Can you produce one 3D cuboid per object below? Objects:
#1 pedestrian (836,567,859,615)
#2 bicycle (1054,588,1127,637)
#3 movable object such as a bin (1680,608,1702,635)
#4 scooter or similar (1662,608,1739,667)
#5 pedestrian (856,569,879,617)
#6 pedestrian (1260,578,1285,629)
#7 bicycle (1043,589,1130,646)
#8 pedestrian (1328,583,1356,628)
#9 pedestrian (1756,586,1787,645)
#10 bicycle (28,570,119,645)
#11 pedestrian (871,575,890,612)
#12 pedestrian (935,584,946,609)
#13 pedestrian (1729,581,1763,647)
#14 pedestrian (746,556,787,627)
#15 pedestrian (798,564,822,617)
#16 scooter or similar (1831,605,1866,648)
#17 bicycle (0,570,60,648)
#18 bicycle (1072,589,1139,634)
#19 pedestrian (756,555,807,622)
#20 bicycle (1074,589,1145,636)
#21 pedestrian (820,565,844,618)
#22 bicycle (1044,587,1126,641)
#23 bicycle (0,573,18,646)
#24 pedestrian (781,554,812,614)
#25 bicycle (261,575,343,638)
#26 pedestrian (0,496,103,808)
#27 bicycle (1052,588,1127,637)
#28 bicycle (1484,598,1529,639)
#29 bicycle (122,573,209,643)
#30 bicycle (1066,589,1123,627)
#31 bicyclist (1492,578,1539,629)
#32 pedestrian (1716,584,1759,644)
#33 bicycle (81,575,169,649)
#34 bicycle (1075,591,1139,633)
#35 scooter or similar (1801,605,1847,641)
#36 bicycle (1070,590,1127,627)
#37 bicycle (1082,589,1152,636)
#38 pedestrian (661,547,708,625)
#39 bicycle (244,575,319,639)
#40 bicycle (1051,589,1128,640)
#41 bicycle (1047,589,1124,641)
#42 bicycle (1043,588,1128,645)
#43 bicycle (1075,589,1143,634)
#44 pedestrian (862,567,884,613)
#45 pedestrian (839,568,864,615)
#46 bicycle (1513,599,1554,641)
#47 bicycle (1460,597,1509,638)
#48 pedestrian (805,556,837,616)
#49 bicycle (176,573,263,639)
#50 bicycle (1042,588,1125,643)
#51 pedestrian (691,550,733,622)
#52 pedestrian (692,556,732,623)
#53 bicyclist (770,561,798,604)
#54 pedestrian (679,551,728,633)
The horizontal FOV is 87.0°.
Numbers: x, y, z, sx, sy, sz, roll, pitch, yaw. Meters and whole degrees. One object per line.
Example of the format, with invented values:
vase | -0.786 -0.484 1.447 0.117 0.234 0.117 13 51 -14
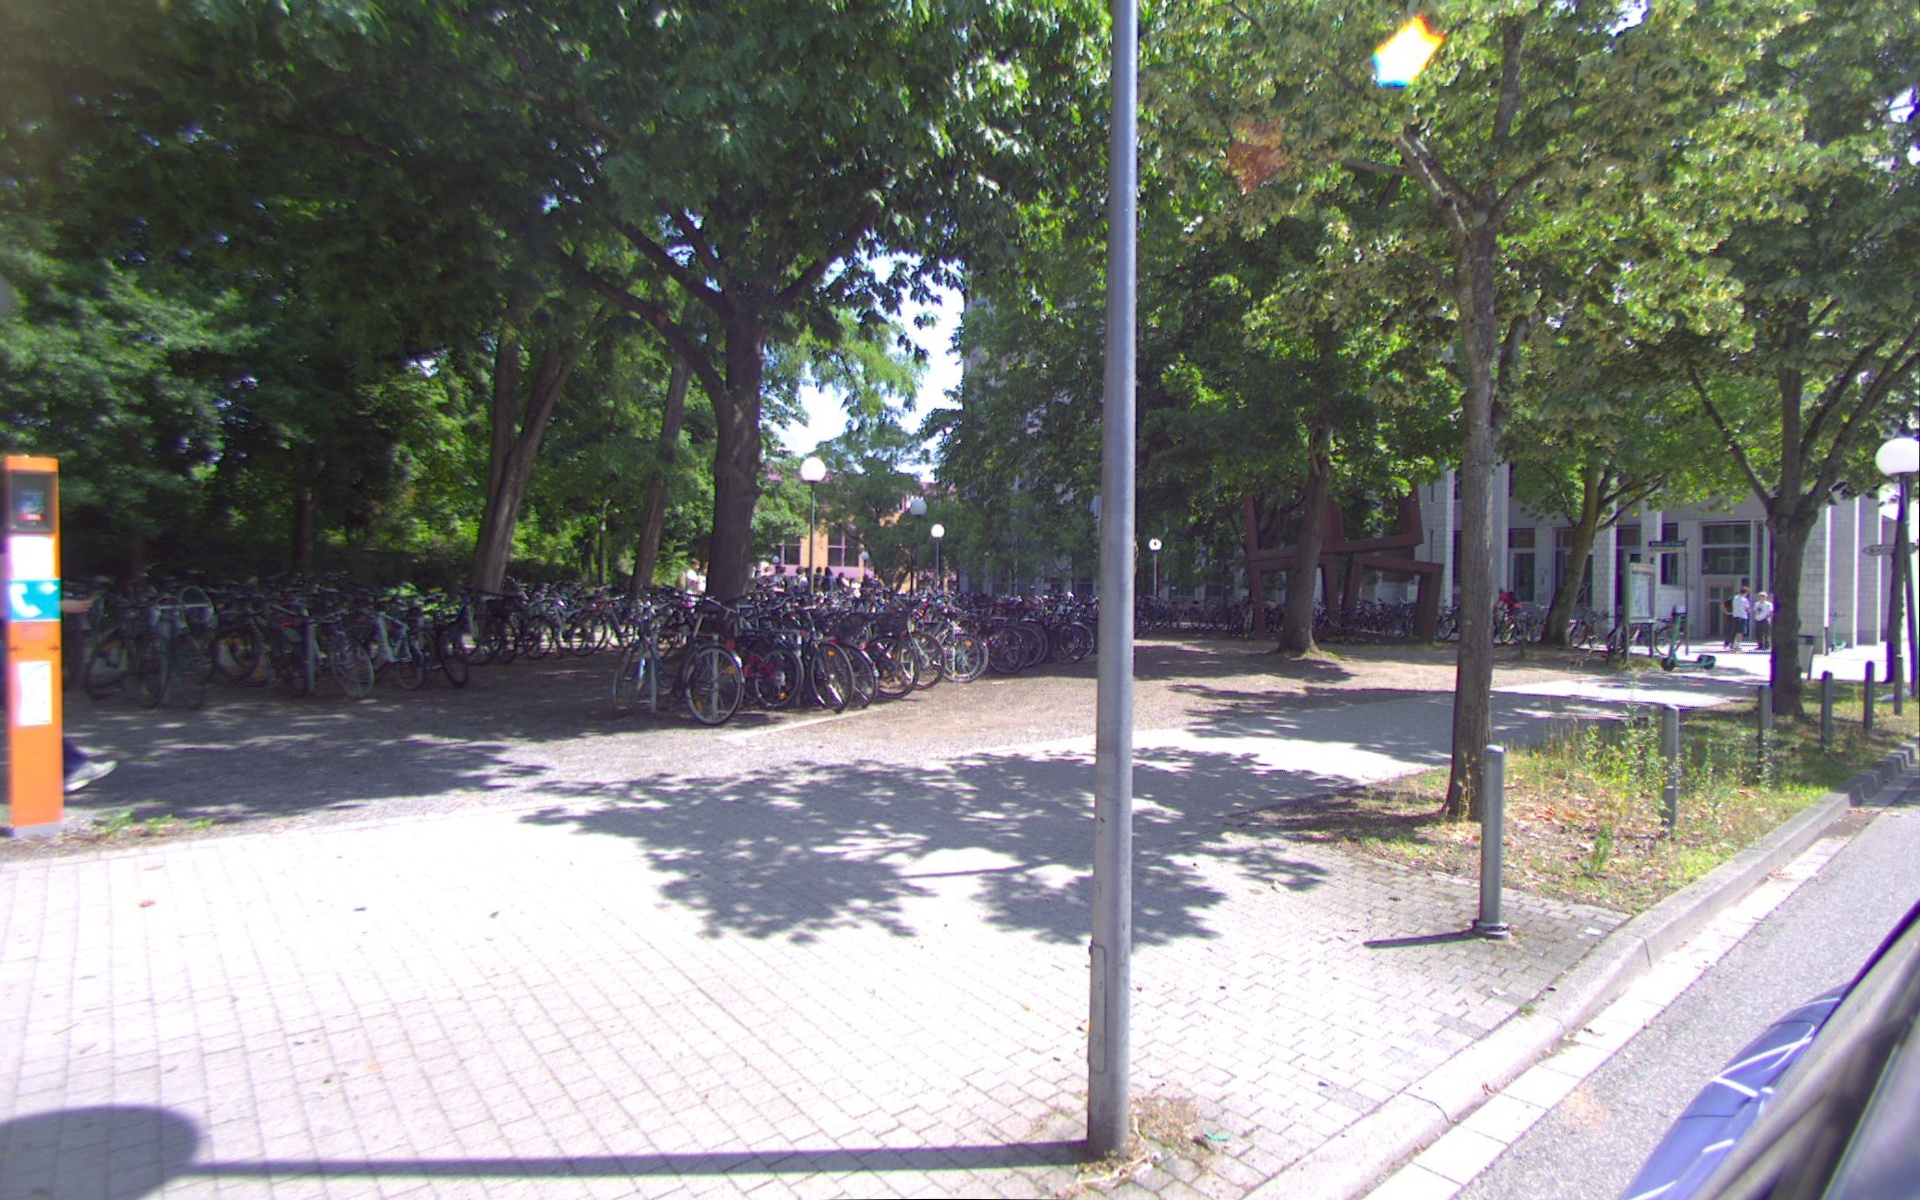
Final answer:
pedestrian | -4.301 -0.352 38.567 0.729 1.797 0.722 2 0 -15
bicycle | 3.352 0.306 25.979 1.817 1.185 0.351 2 0 13
movable object such as a bin | 27.218 0.804 37.698 0.503 0.961 0.513 2 2 -42
scooter or similar | 14.889 0.750 20.344 1.333 1.128 0.498 2 0 -16
pedestrian | -3.535 -0.268 38.745 0.729 1.797 0.722 2 0 -15
pedestrian | 10.731 0.119 34.772 0.427 1.725 0.929 -1 -2 45
bicycle | 2.722 0.375 21.877 1.811 1.185 0.345 1 0 3
pedestrian | 15.387 0.212 40.786 0.930 1.762 0.741 0 0 31
pedestrian | 24.456 0.454 30.510 0.533 1.751 0.613 0 0 -39
bicycle | -13.680 0.096 15.601 1.944 1.052 0.473 2 1 31
pedestrian | -3.567 -0.285 45.243 0.731 1.589 0.720 2 0 1
pedestrian | -0.986 -0.168 51.452 0.379 1.228 0.403 2 0 -32
pedestrian | 23.316 0.404 30.014 0.675 1.915 0.685 -1 0 -43
pedestrian | -4.998 -0.222 26.148 0.735 1.797 0.716 2 0 18
pedestrian | -5.223 -0.325 35.330 0.730 1.797 0.721 2 0 -3
scooter or similar | 26.813 0.781 30.550 1.484 1.226 0.564 0 3 -42
bicycle | -13.915 0.110 14.904 1.944 1.052 0.430 2 1 31
bicycle | 4.054 0.304 28.201 1.816 1.185 0.412 2 0 11
pedestrian | -4.938 -0.314 27.979 0.954 1.797 0.963 2 0 28
bicycle | 3.951 0.330 26.741 1.817 1.185 0.351 2 0 13
pedestrian | -4.473 -0.291 35.365 0.730 1.797 0.721 2 0 -3
bicycle | 2.893 0.325 23.436 1.817 1.185 0.344 2 0 13
bicycle | -14.223 0.104 14.583 1.944 0.991 0.434 2 1 31
pedestrian | -5.024 -0.492 31.134 0.733 1.797 0.719 2 0 9
bicycle | -11.902 0.104 18.290 1.738 1.052 0.474 2 1 29
pedestrian | -5.136 0.255 5.325 0.911 1.591 0.569 2 1 -40
bicycle | 3.278 0.315 25.630 1.817 1.185 0.351 2 0 13
bicycle | 15.578 0.543 28.832 1.486 1.099 0.482 3 1 -36
bicycle | -12.995 0.109 16.542 1.768 1.052 0.474 2 1 29
bicycle | 4.399 0.266 33.096 1.812 1.185 0.345 1 0 5
bicyclist | 17.771 0.108 32.379 0.822 1.562 0.960 4 0 -35
pedestrian | 23.817 0.411 31.013 0.796 1.819 0.619 1 0 6
bicycle | -12.832 0.160 15.539 1.768 1.052 0.430 2 1 29
bicycle | 4.298 0.341 29.554 1.816 1.185 0.412 2 0 11
scooter or similar | 31.455 0.833 36.857 0.555 1.226 1.507 0 2 9
bicycle | 4.560 0.276 33.431 1.812 1.185 0.345 1 0 5
bicycle | 4.203 0.332 27.074 1.817 1.185 0.387 2 0 13
pedestrian | -6.475 -0.319 23.793 0.739 1.797 0.713 2 0 31
bicycle | -12.066 0.107 17.973 1.738 1.052 0.344 2 1 29
bicycle | 3.172 0.346 24.843 1.817 1.185 0.351 2 0 13
bicycle | 3.036 0.353 24.491 1.817 1.185 0.351 2 0 13
bicycle | 2.747 0.361 22.250 1.811 1.185 0.345 1 0 3
bicycle | 4.056 0.304 27.574 1.816 1.185 0.387 2 0 11
pedestrian | -3.473 -0.408 40.403 0.837 1.797 0.813 2 0 -5
pedestrian | -4.289 -0.349 39.930 0.824 1.797 0.994 2 0 -11
bicycle | 15.975 0.567 28.168 1.447 1.099 0.460 3 1 -40
bicycle | 15.051 0.504 29.024 1.664 1.099 0.482 3 1 -36
pedestrian | -4.249 -0.438 30.974 0.733 1.797 0.719 2 0 9
bicycle | -12.729 0.089 17.379 1.816 1.052 0.474 2 1 29
bicycle | 2.818 0.339 23.098 1.817 1.185 0.344 2 0 13
pedestrian | -6.310 -0.358 25.754 0.742 1.797 0.710 1 0 42
pedestrian | -6.751 -0.295 27.610 0.737 1.797 0.715 2 0 24
bicyclist | -6.093 -0.598 34.999 0.732 1.465 0.802 2 0 7
pedestrian | -5.774 -0.189 22.760 0.738 1.797 0.713 2 0 30
